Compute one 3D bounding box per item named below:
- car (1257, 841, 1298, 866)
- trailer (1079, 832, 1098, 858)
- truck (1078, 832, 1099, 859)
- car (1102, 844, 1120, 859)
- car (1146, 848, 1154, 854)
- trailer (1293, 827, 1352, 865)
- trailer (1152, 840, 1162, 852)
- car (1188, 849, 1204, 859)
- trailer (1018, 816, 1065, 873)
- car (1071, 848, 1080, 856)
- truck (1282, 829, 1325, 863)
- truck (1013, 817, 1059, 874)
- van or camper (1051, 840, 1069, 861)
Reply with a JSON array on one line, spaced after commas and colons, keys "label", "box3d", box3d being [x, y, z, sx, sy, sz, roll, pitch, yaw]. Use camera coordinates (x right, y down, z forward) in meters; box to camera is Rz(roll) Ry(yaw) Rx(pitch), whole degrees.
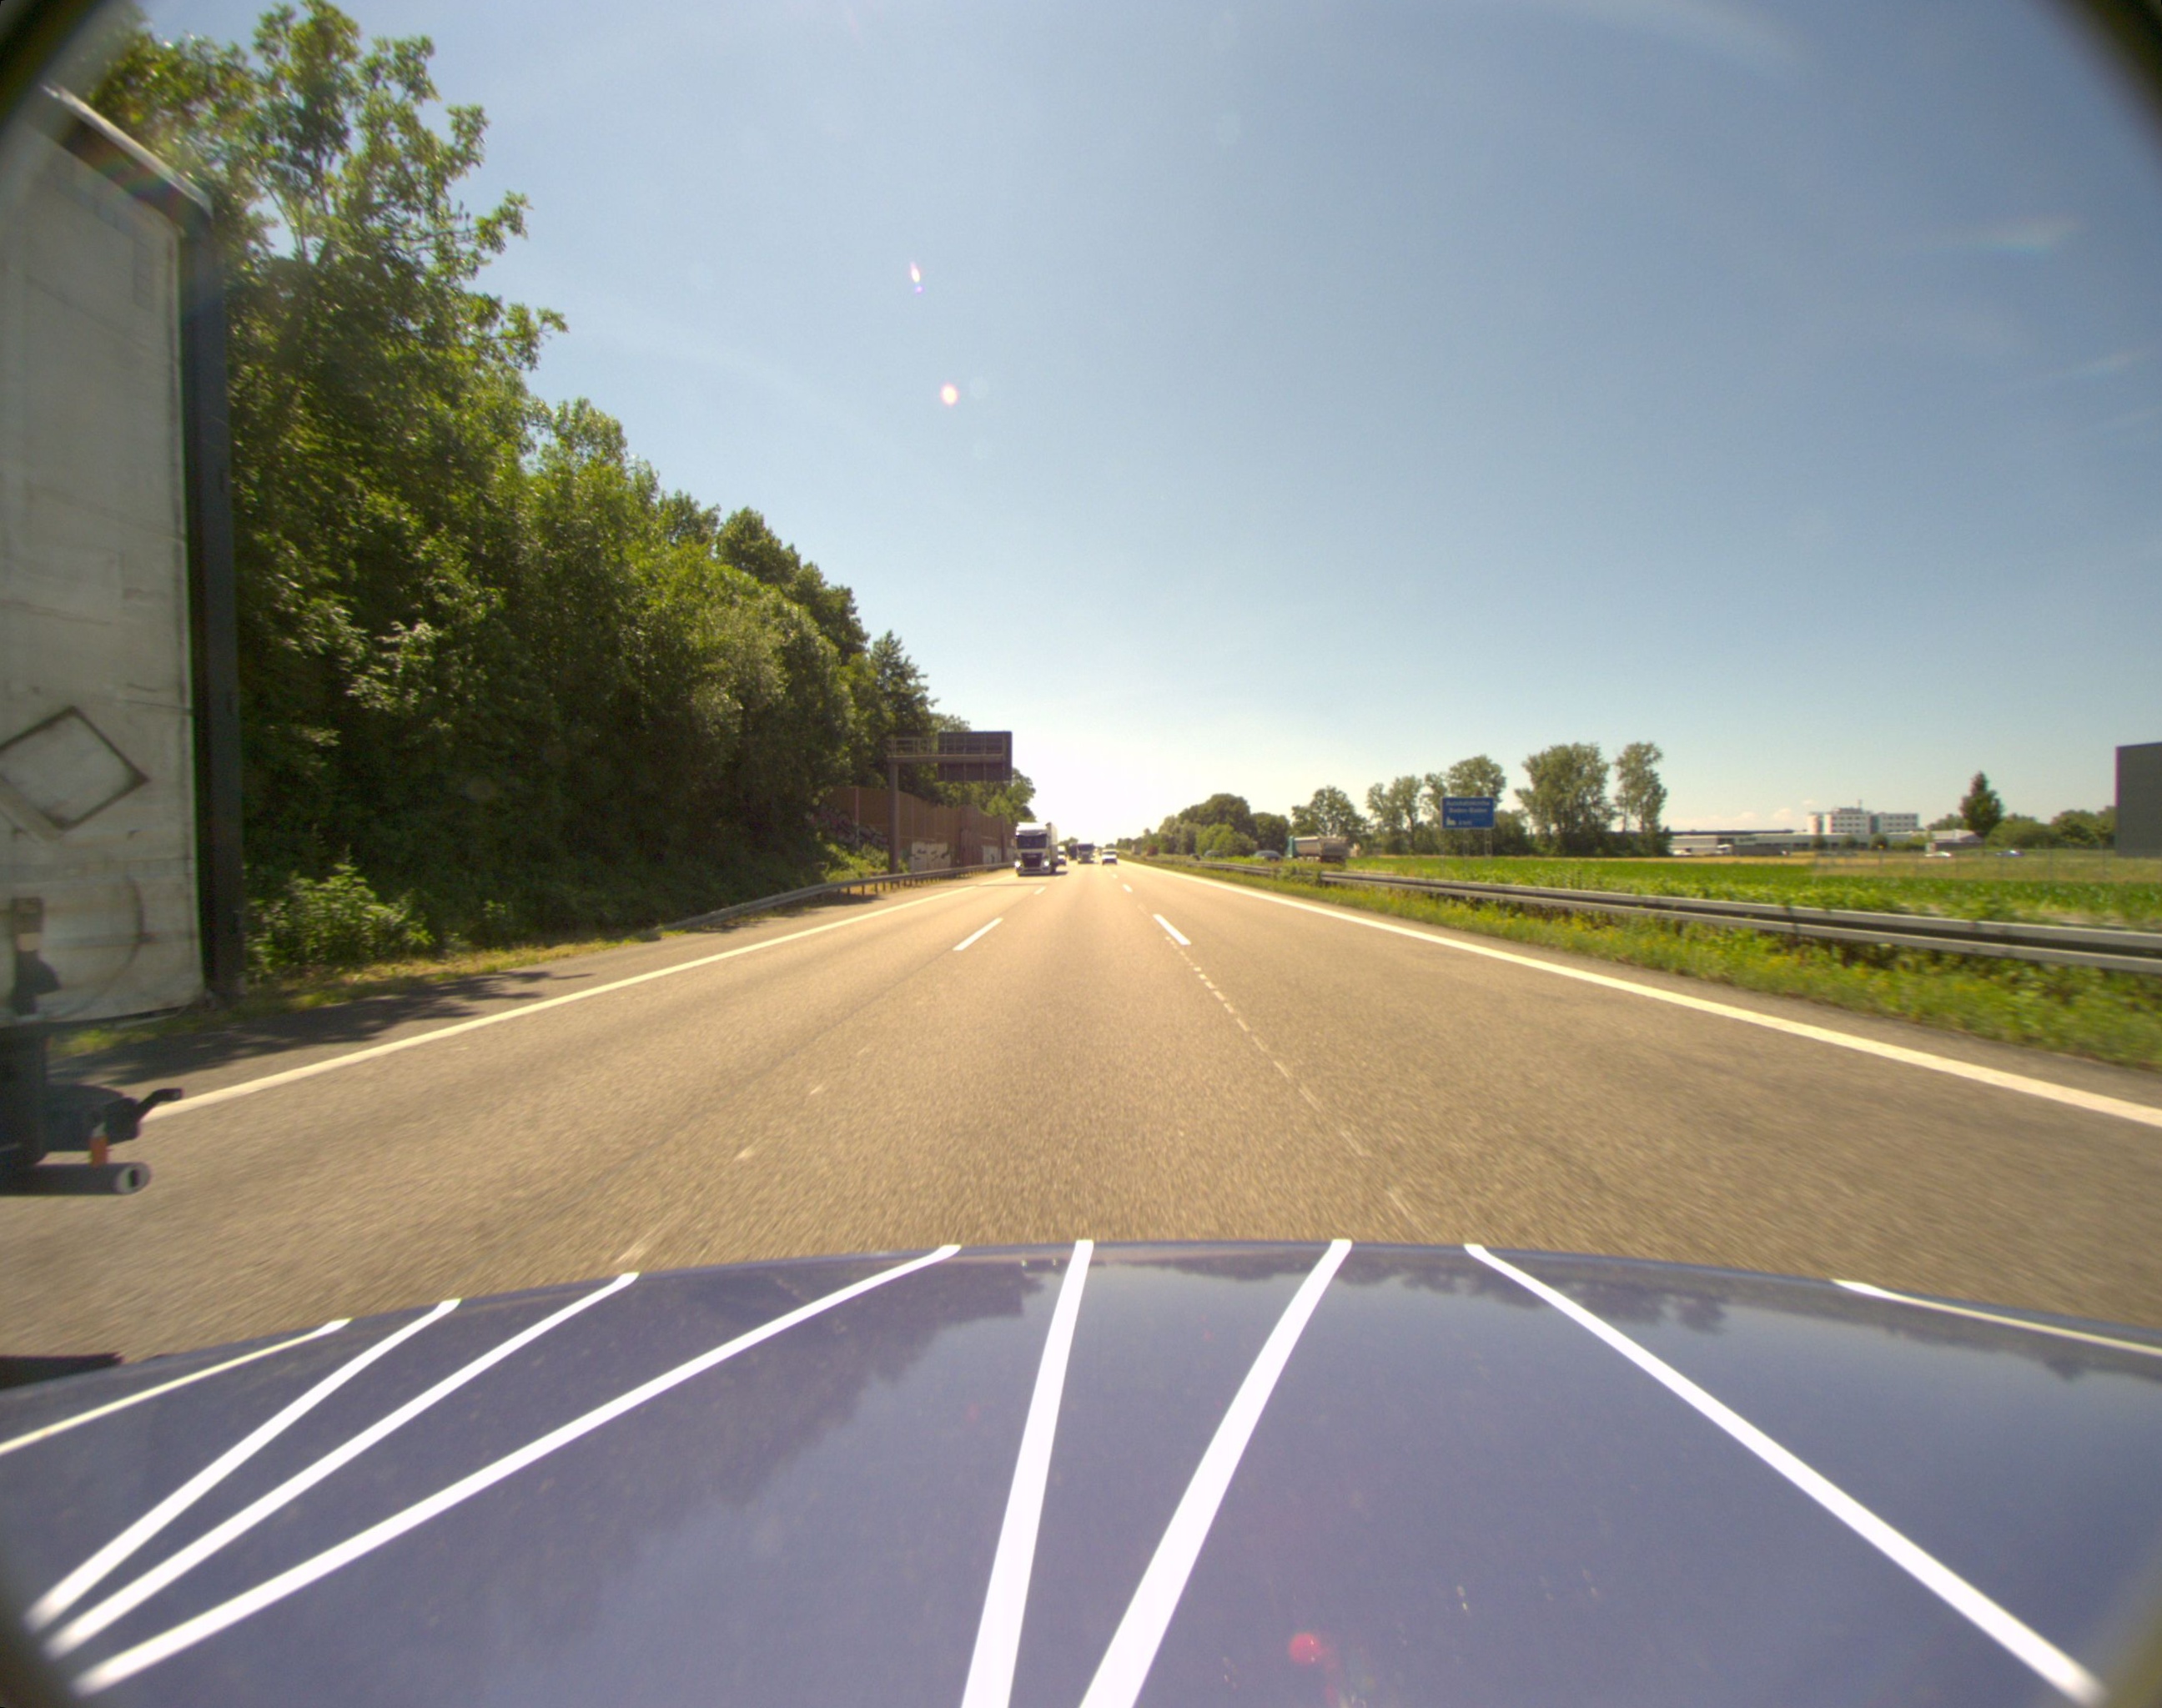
[{"label": "car", "box3d": [14.397, -0.040, 55.829, 1.874, 1.732, 4.721, 0, 1, 1]}, {"label": "trailer", "box3d": [1.211, -1.421, 121.652, 2.927, 4.018, 7.316, -2, 1, 1]}, {"label": "truck", "box3d": [1.165, -1.342, 116.596, 2.896, 4.007, 6.869, -2, 1, 1]}, {"label": "car", "box3d": [3.902, -0.325, 99.860, 2.147, 1.810, 5.267, -1, 1, 1]}, {"label": "car", "box3d": [21.136, -0.874, 232.559, 1.998, 1.670, 5.552, 0, 0, 1]}, {"label": "trailer", "box3d": [22.112, -0.730, 70.126, 2.682, 3.219, 9.257, -1, 1, 1]}, {"label": "trailer", "box3d": [26.659, -2.768, 267.874, 2.665, 3.897, 8.660, 2, 1, 1]}, {"label": "car", "box3d": [20.046, -0.033, 132.438, 1.998, 1.630, 5.663, 0, 0, 1]}, {"label": "trailer", "box3d": [-3.227, -0.797, 65.328, 3.001, 4.264, 13.416, -2, 1, 1]}, {"label": "car", "box3d": [-1.260, -0.478, 173.751, 1.998, 2.002, 4.867, 0, 0, 1]}, {"label": "truck", "box3d": [22.189, -0.819, 76.181, 2.704, 3.232, 5.837, -1, 1, 1]}, {"label": "truck", "box3d": [-3.339, -0.654, 57.568, 3.010, 4.101, 5.252, -1, 1, 1]}, {"label": "van or camper", "box3d": [-2.818, -0.495, 102.136, 2.027, 2.622, 6.486, -2, 1, 1]}]
